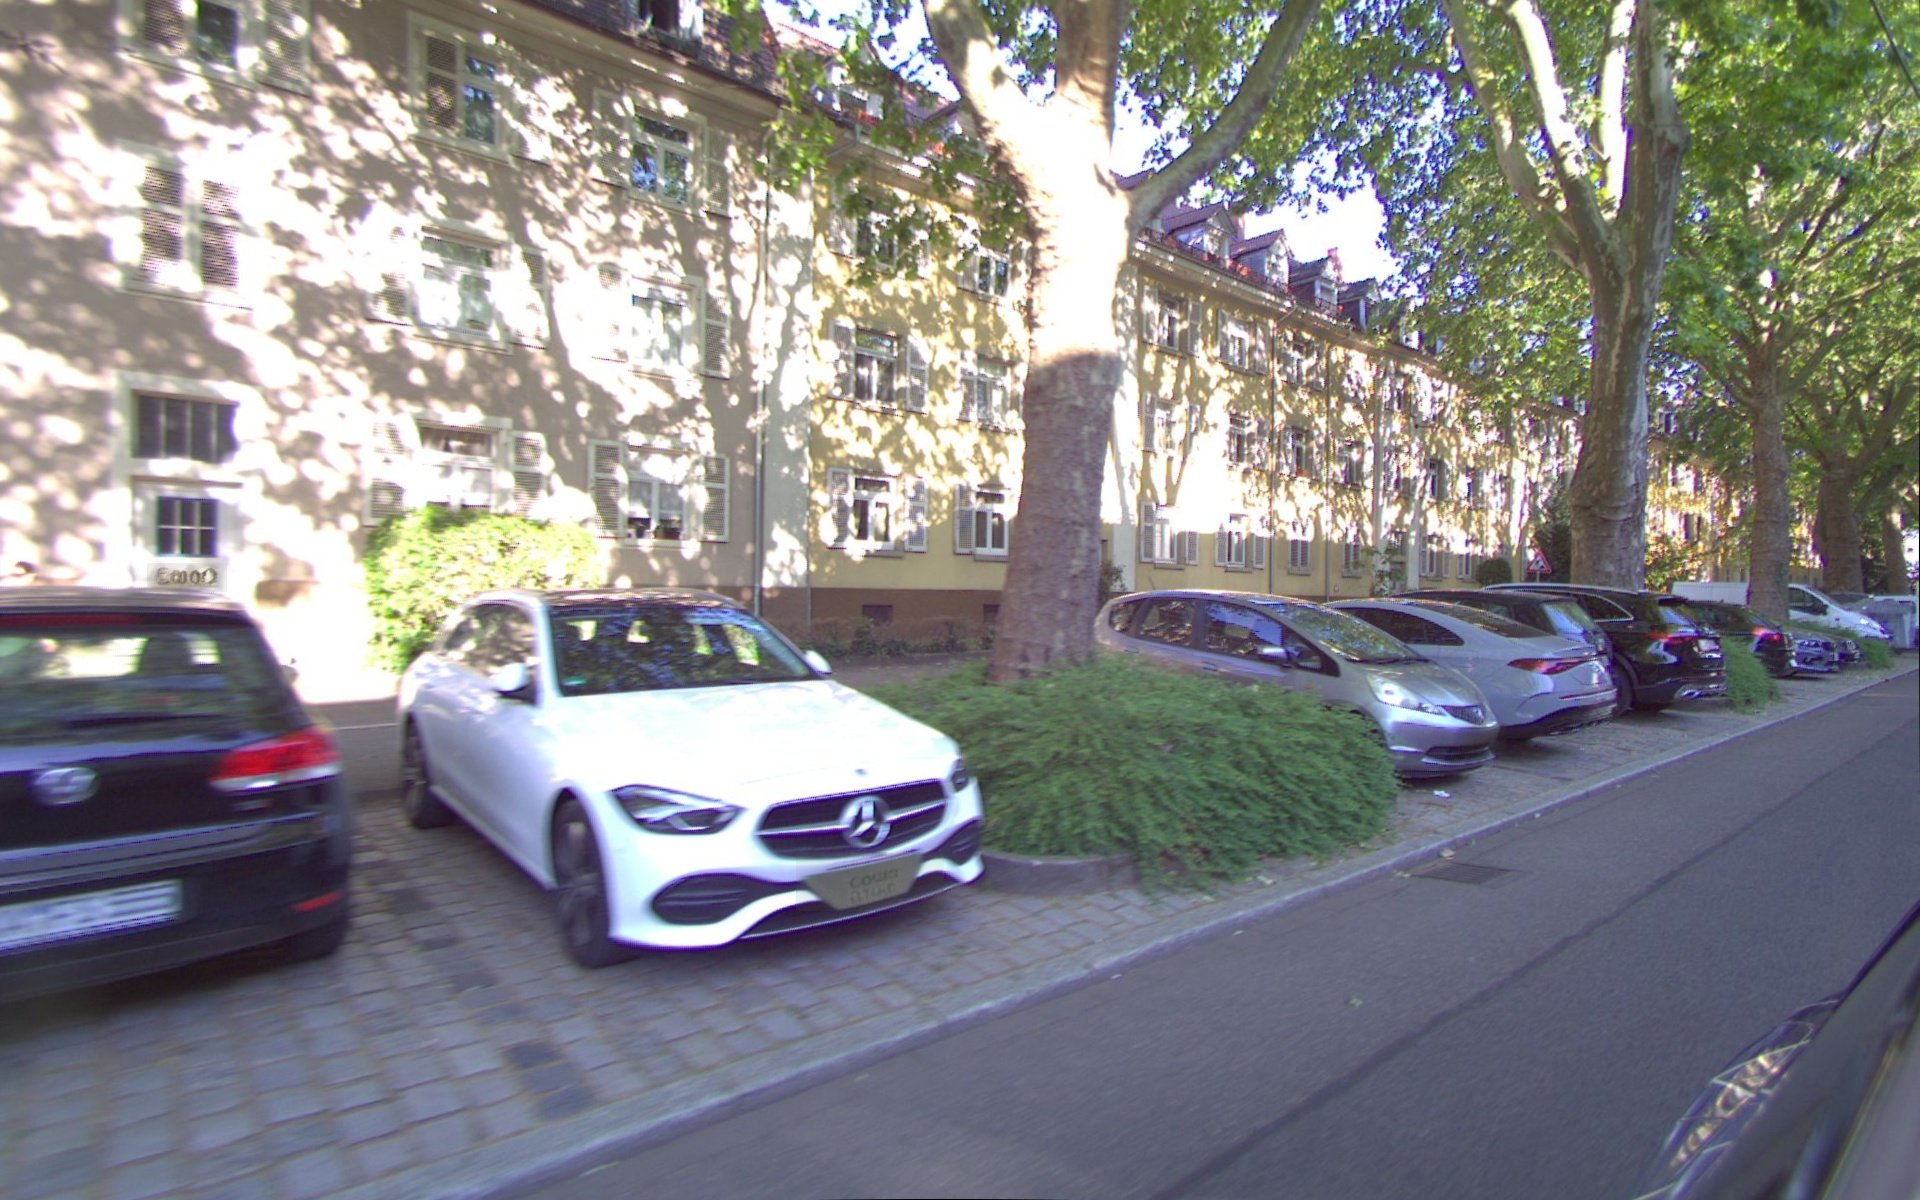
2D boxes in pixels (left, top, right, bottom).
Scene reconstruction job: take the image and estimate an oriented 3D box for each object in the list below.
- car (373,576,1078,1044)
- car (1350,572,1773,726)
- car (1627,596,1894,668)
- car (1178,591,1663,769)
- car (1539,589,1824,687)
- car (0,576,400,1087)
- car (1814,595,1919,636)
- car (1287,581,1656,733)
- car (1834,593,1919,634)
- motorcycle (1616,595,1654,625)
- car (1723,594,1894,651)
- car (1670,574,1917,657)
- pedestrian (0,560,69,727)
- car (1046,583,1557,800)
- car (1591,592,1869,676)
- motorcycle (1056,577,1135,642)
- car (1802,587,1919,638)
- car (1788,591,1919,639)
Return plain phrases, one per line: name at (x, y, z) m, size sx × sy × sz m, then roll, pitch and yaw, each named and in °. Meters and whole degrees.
car at (-1.705, 0.624, 5.571) m, size 1.859 × 1.465 × 4.696 m, roll 0°, pitch 1°, yaw -40°
car at (7.947, 0.499, 13.803) m, size 1.989 × 1.621 × 4.511 m, roll 0°, pitch 2°, yaw -37°
car at (17.750, 0.627, 22.646) m, size 1.770 × 1.398 × 4.409 m, roll 0°, pitch 1°, yaw -37°
car at (4.656, 0.652, 10.737) m, size 1.914 × 1.457 × 4.302 m, roll 0°, pitch 1°, yaw -41°
car at (12.699, 0.581, 17.987) m, size 1.680 × 1.528 × 3.845 m, roll 0°, pitch 1°, yaw -41°
car at (-3.866, 0.632, 4.462) m, size 1.723 × 1.453 × 3.890 m, roll 0°, pitch 1°, yaw -40°
car at (34.875, 0.574, 38.101) m, size 1.817 × 1.451 × 3.855 m, roll 0°, pitch 1°, yaw -37°
car at (6.160, 0.563, 12.503) m, size 1.745 × 1.566 × 3.687 m, roll 0°, pitch 1°, yaw -39°
car at (36.817, 0.516, 39.332) m, size 1.884 × 1.540 × 4.094 m, roll -1°, pitch 1°, yaw -41°
motorcycle at (27.560, 0.381, 41.302) m, size 2.224 × 1.167 × 0.716 m, roll 0°, pitch 1°, yaw -41°
car at (23.849, 0.594, 28.523) m, size 1.645 × 1.465 × 3.530 m, roll 0°, pitch 1°, yaw -43°
car at (21.952, 0.331, 26.829) m, size 2.030 × 1.988 × 4.842 m, roll 0°, pitch 1°, yaw -43°
pedestrian at (-8.662, 0.377, 9.215) m, size 0.807 × 1.473 × 0.662 m, roll 0°, pitch 0°, yaw -41°
car at (2.882, 0.614, 9.292) m, size 1.764 × 1.528 × 4.150 m, roll 0°, pitch 1°, yaw -40°
car at (15.644, 0.602, 20.739) m, size 1.864 × 1.502 × 4.255 m, roll 0°, pitch 1°, yaw -41°
motorcycle at (3.145, 0.205, 23.569) m, size 0.612 × 1.377 × 1.806 m, roll 0°, pitch 3°, yaw -43°
car at (33.390, 0.418, 36.874) m, size 1.881 × 1.794 × 3.855 m, roll 0°, pitch 1°, yaw -37°
car at (31.922, 0.511, 35.317) m, size 1.767 × 1.561 × 4.383 m, roll 1°, pitch 0°, yaw -37°
